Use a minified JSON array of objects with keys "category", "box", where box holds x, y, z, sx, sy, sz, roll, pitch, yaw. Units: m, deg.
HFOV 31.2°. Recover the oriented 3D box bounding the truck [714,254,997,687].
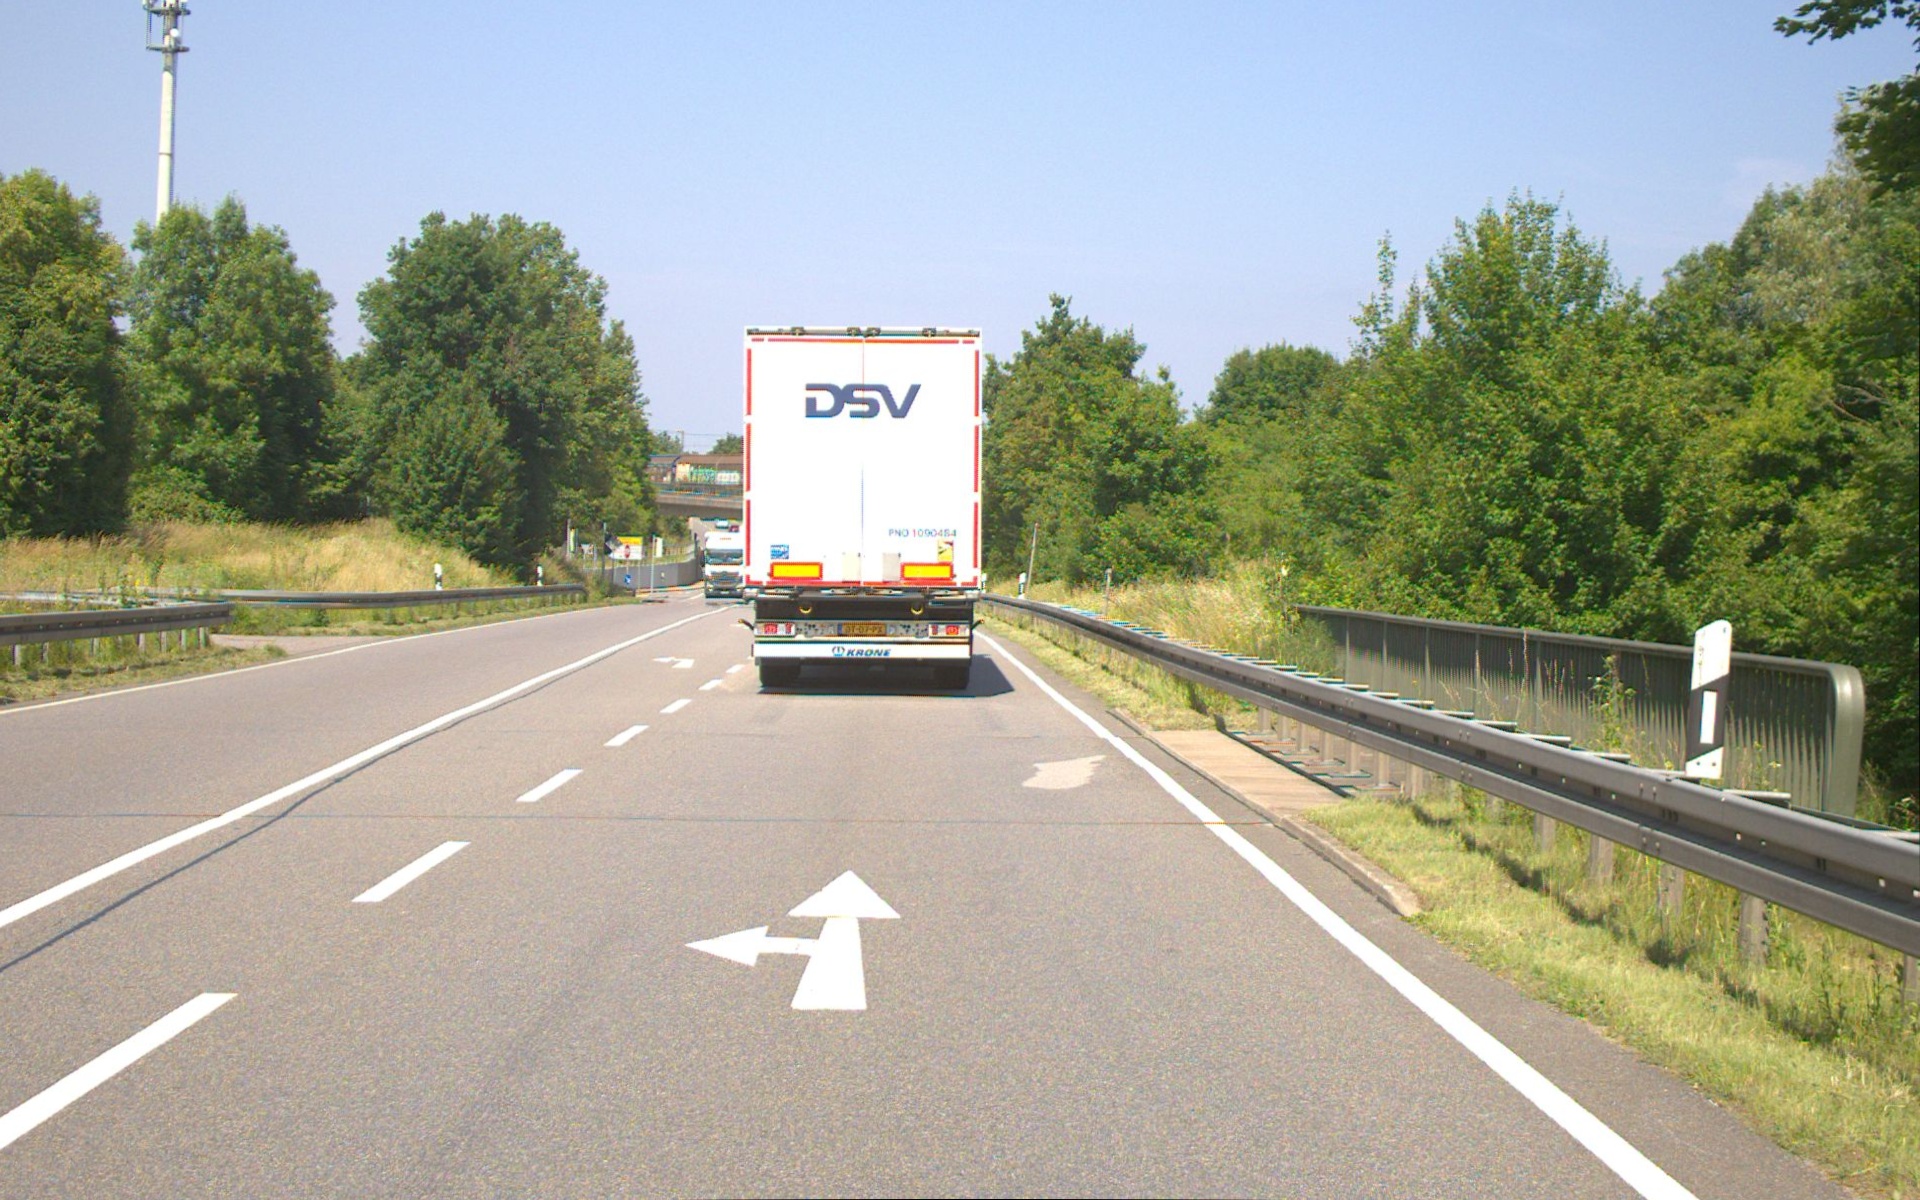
[{"category":"truck","box":[-1.195,-1.384,41.415,2.950,4.553,9.863,1,0,-1]}]
